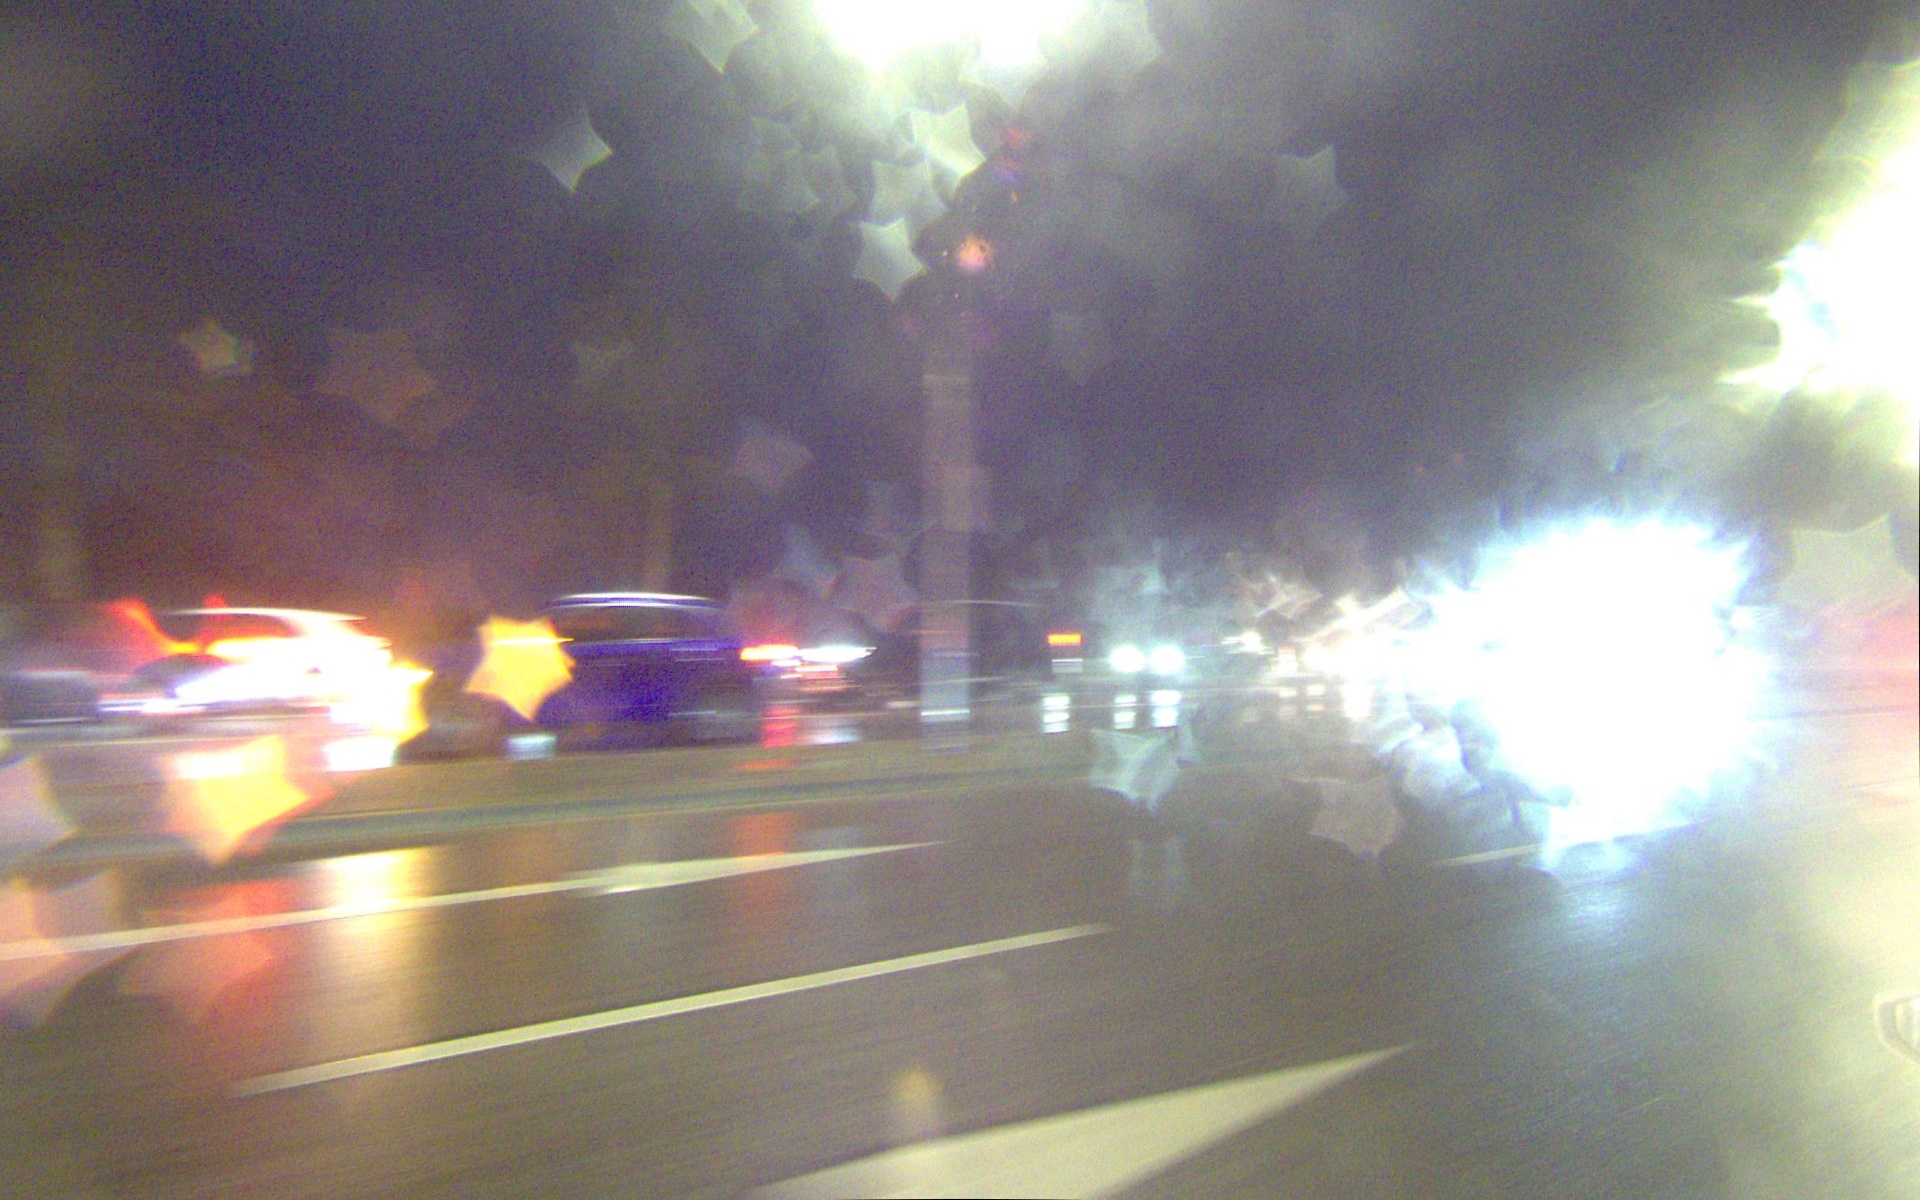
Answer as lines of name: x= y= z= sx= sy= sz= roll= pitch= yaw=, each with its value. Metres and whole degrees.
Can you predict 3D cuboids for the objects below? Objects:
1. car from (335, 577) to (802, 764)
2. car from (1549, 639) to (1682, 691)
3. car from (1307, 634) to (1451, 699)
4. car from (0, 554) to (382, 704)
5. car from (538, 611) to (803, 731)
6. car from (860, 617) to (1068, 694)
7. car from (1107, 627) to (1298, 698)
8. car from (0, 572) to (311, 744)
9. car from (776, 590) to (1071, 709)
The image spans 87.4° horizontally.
car: x=-3.982 y=0.674 z=10.484 sx=4.258 sy=1.598 sz=1.803 roll=2 pitch=-2 yaw=-32
car: x=21.511 y=2.091 z=32.922 sx=4.379 sy=1.551 sz=1.874 roll=1 pitch=0 yaw=-30
car: x=11.547 y=1.788 z=27.617 sx=4.098 sy=1.623 sz=1.486 roll=2 pitch=0 yaw=-31
car: x=-10.486 y=0.395 z=13.976 sx=4.202 sy=1.823 sz=1.789 roll=1 pitch=0 yaw=-31
car: x=-5.009 y=1.220 z=17.522 sx=4.078 sy=1.872 sz=1.751 roll=3 pitch=-2 yaw=-31
car: x=0.112 y=1.078 z=20.684 sx=3.993 sy=1.395 sz=1.751 roll=0 pitch=0 yaw=-31
car: x=5.844 y=1.531 z=24.041 sx=4.482 sy=1.558 sz=1.843 roll=3 pitch=-4 yaw=-31
car: x=-9.401 y=0.579 z=10.844 sx=3.931 sy=1.688 sz=1.789 roll=1 pitch=-1 yaw=-31
car: x=-0.534 y=0.750 z=16.143 sx=4.437 sy=1.688 sz=1.789 roll=1 pitch=0 yaw=-31
